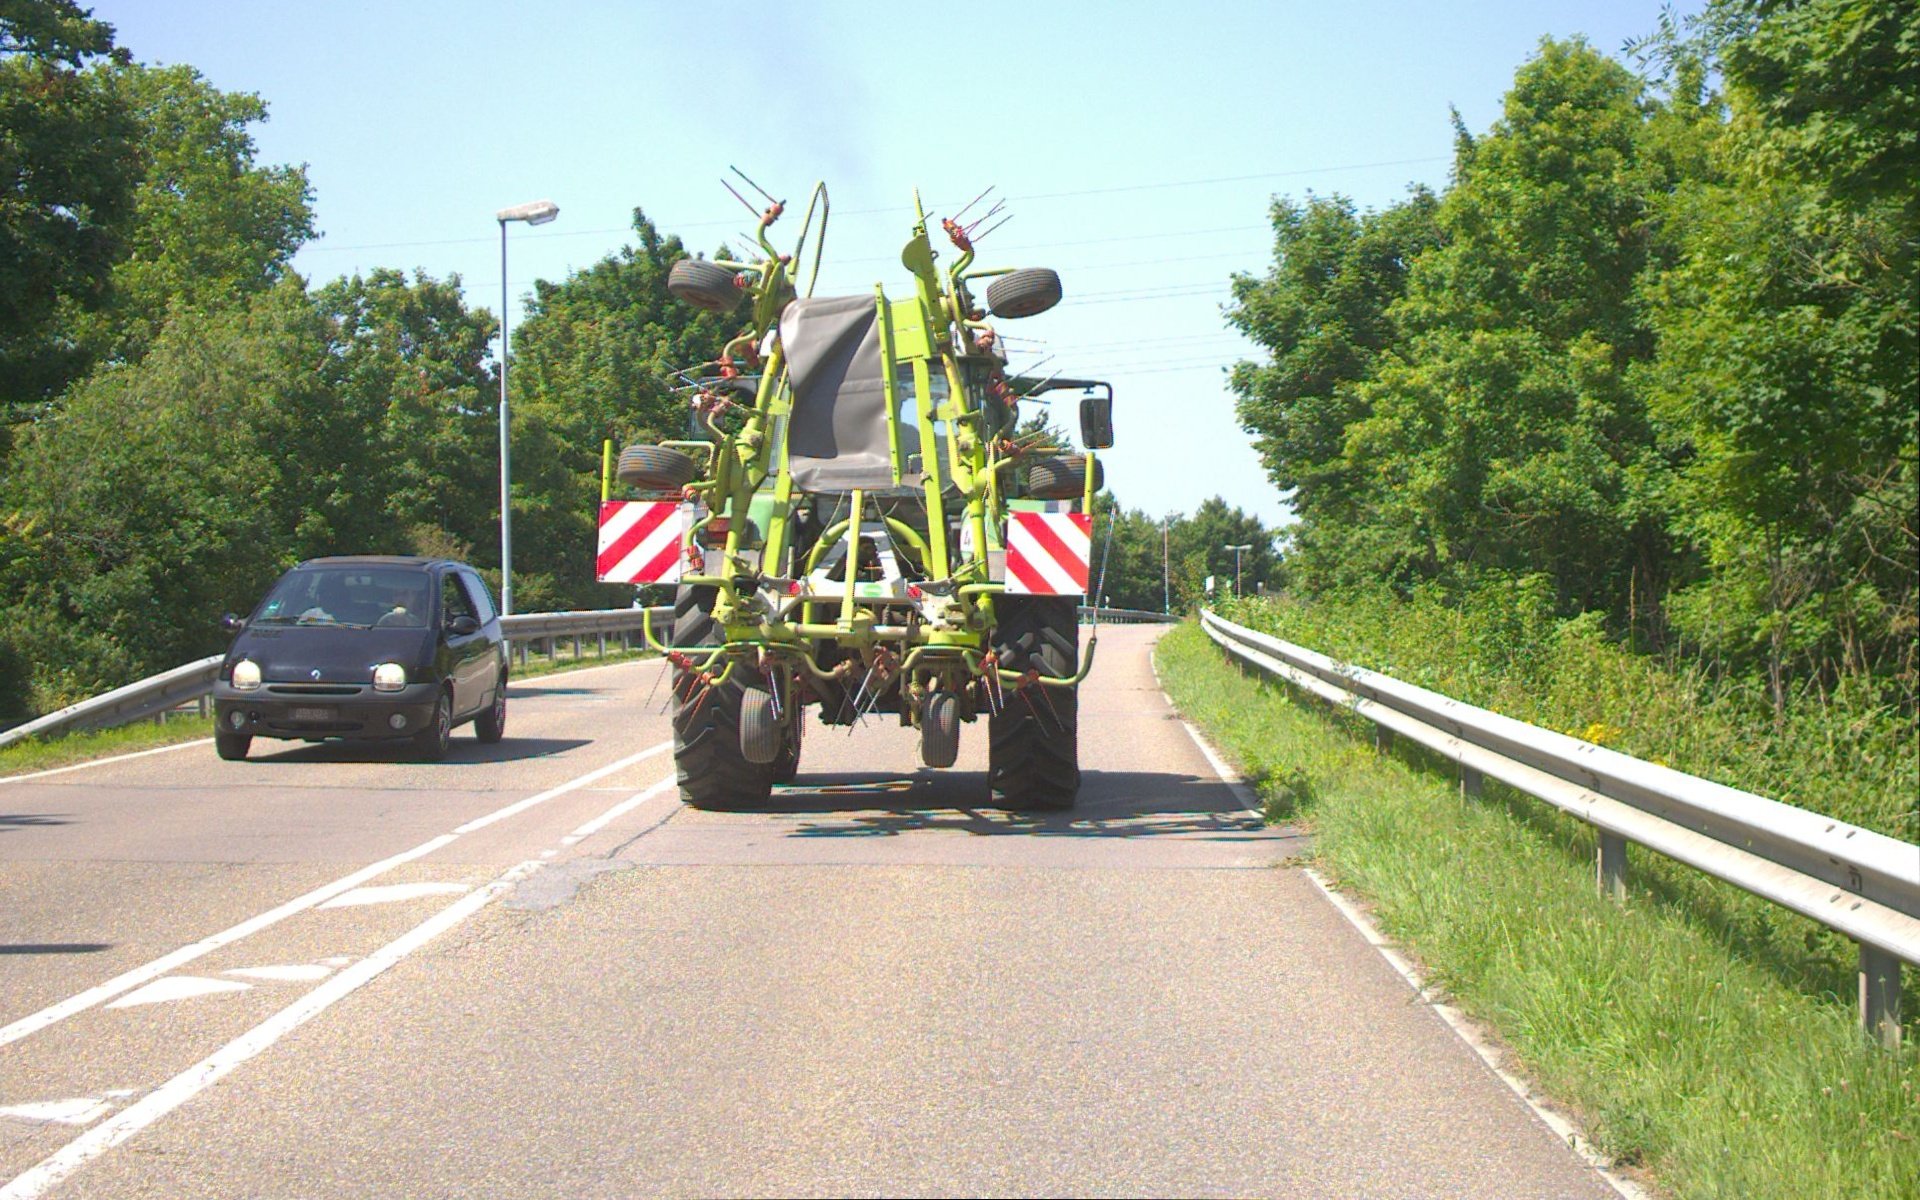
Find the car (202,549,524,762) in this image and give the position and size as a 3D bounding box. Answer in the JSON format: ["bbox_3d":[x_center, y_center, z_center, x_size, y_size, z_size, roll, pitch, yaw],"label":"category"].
[{"bbox_3d":[-4.313,0.354,25.279,1.627,1.399,3.433,1,2,3],"label":"car"}]

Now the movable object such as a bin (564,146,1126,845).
[{"bbox_3d":[-0.557,-0.554,19.742,2.755,3.432,5.670,0,1,0],"label":"movable object such as a bin"}]

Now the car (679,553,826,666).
[{"bbox_3d":[-2.864,0.097,48.128,1.739,1.451,3.889,1,1,1],"label":"car"}]
